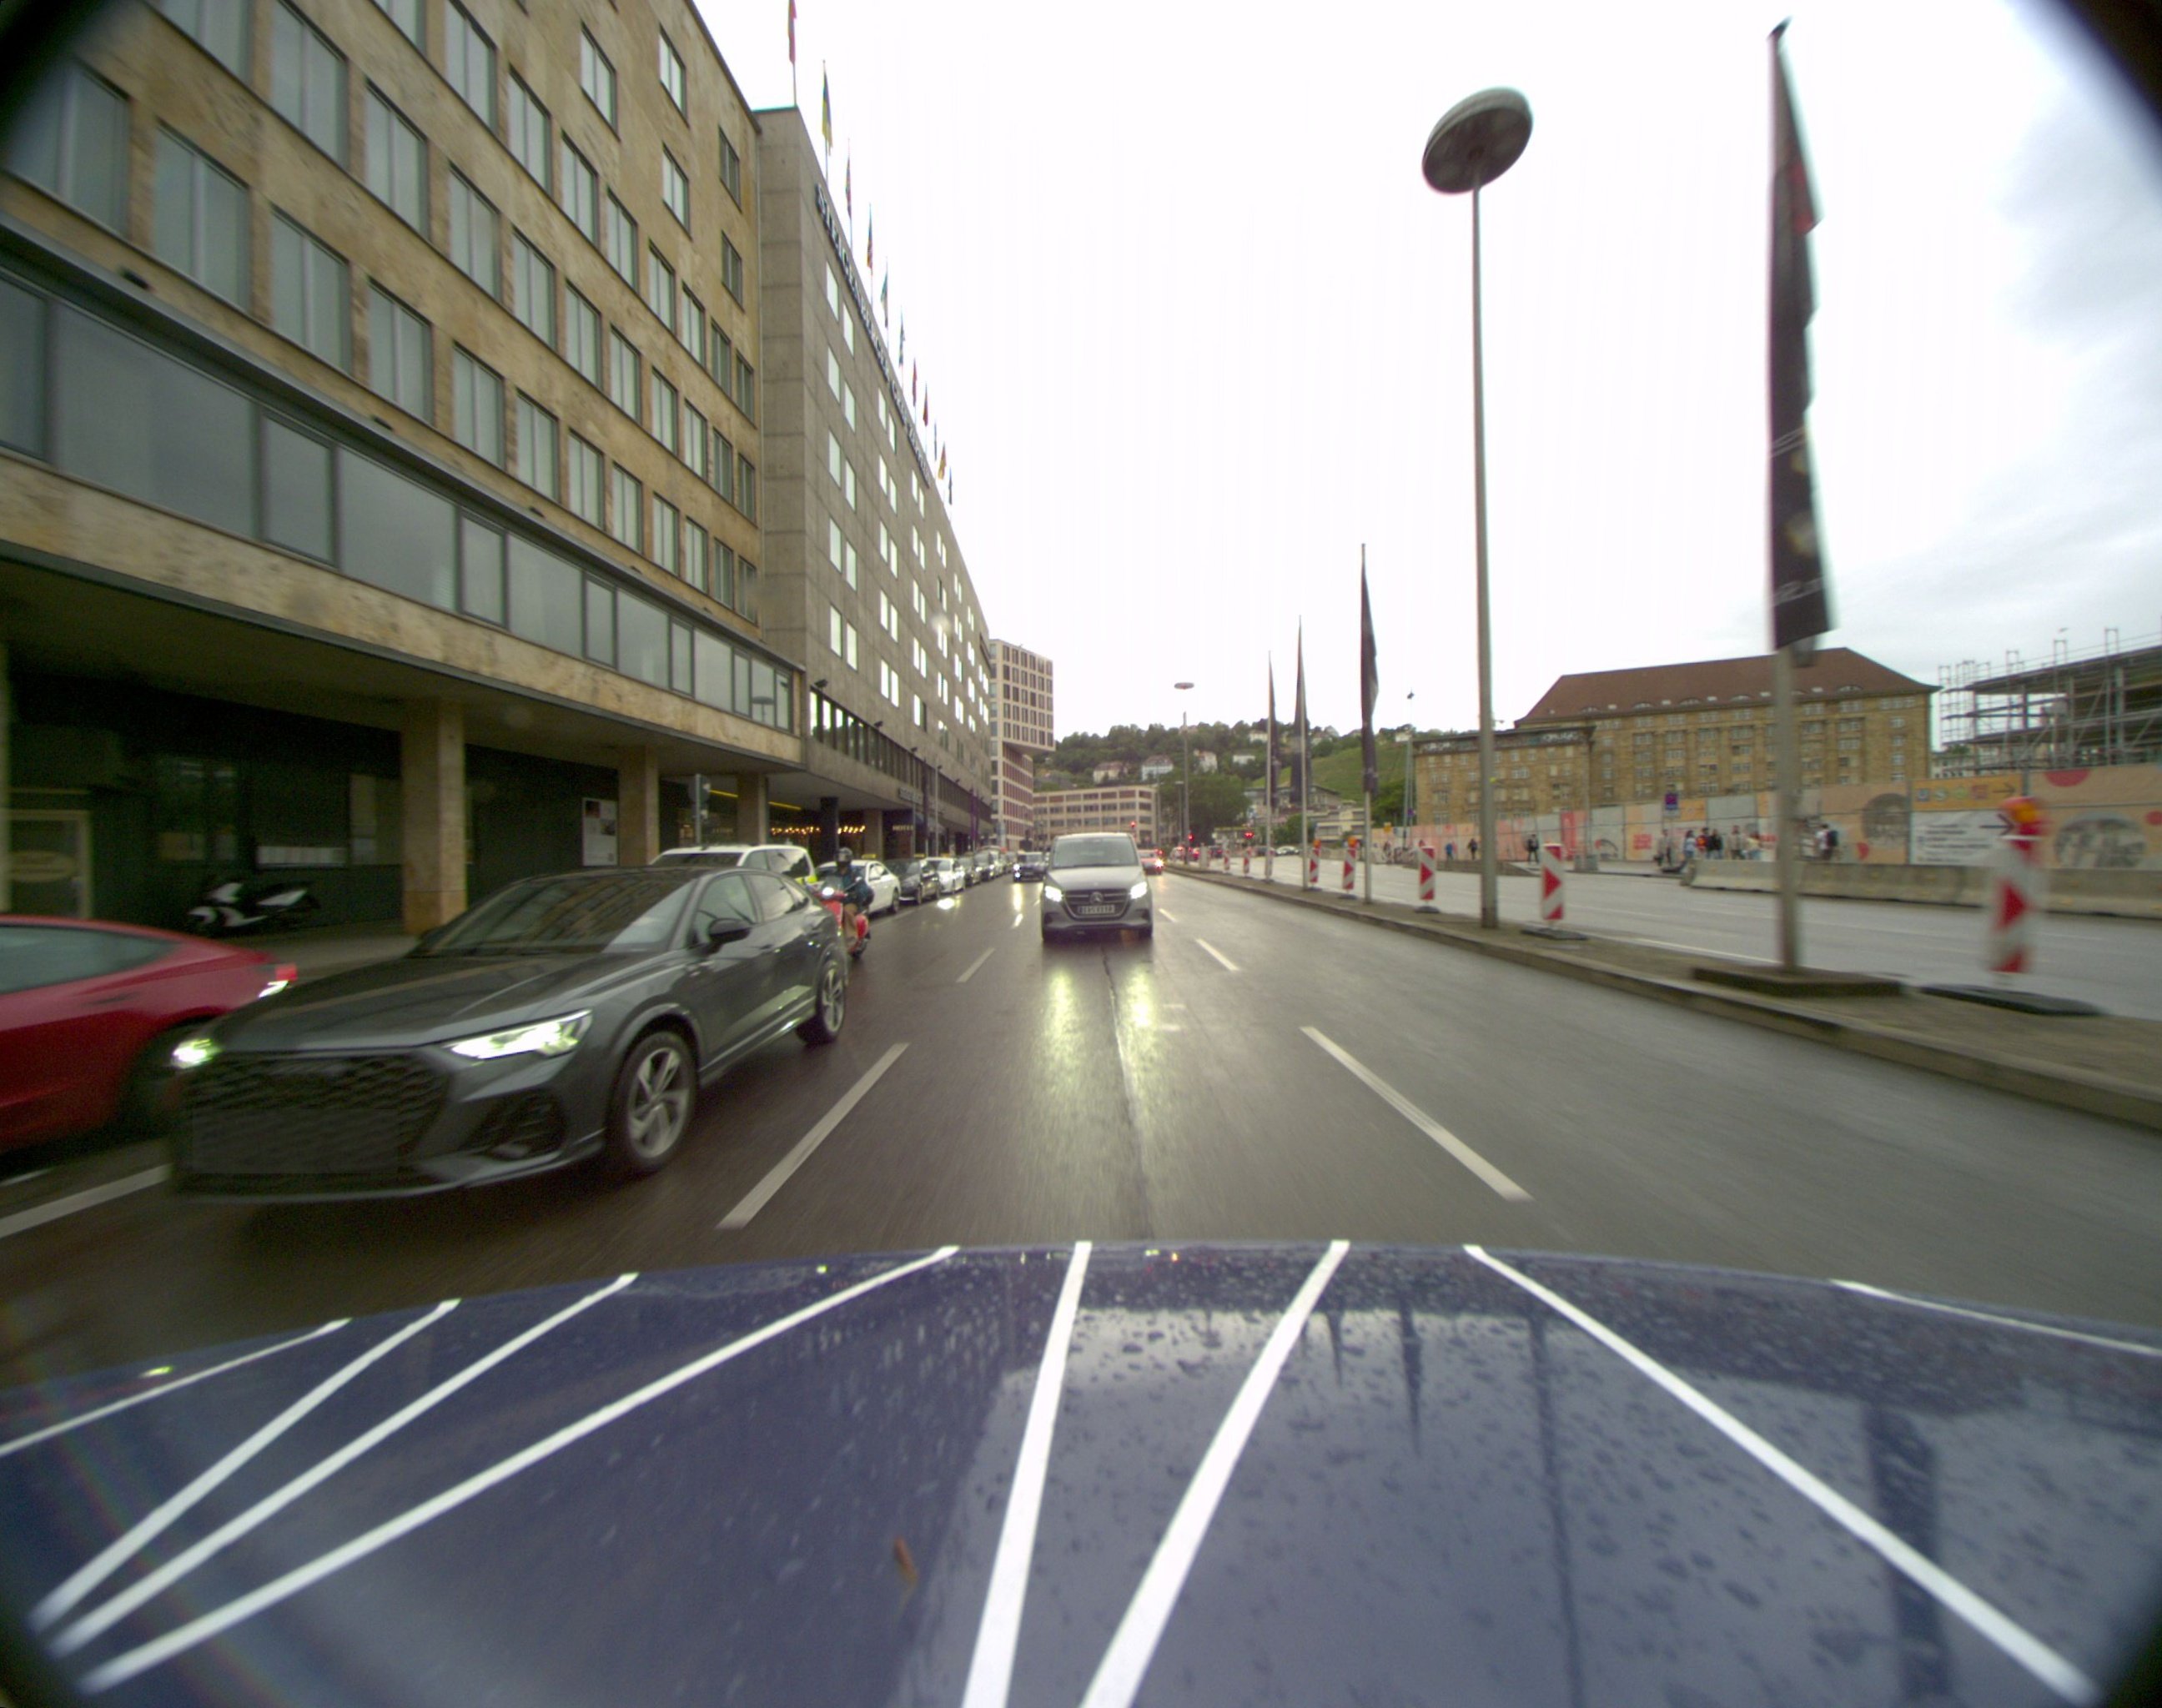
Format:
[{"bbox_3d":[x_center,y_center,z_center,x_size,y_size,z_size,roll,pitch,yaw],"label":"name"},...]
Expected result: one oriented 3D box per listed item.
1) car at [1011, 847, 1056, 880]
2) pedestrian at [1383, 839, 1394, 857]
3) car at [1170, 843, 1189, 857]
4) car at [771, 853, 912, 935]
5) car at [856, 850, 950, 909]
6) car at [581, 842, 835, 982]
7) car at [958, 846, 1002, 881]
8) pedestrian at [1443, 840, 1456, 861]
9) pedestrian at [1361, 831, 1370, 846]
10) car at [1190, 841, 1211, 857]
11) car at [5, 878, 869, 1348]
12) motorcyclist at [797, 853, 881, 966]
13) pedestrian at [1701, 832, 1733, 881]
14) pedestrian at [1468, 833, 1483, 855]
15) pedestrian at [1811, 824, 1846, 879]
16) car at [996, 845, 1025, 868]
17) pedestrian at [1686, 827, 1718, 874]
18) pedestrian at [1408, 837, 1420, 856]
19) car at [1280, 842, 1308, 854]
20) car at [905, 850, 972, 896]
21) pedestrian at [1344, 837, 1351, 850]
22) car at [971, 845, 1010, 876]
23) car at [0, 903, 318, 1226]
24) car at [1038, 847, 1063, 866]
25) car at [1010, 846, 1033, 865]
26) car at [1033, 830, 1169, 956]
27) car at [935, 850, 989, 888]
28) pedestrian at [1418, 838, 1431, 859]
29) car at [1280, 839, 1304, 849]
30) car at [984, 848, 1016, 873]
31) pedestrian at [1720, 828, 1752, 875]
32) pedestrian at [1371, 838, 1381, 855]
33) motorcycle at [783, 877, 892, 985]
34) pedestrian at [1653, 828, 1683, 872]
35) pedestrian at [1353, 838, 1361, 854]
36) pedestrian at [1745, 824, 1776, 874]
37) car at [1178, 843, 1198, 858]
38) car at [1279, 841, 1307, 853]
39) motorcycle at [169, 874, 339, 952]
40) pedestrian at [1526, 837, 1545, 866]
[{"bbox_3d":[-2.538,0.464,41.553,2.089,1.540,4.586,-3,1,1],"label":"car"},{"bbox_3d":[28.372,-0.580,70.156,0.715,1.607,0.544,-3,2,1],"label":"pedestrian"},{"bbox_3d":[12.499,-0.547,96.246,1.785,1.684,3.915,-3,1,-1],"label":"car"},{"bbox_3d":[-5.861,0.882,19.333,1.879,1.628,5.010,-3,1,1],"label":"car"},{"bbox_3d":[-5.809,0.755,25.415,1.879,1.628,4.813,-3,1,1],"label":"car"},{"bbox_3d":[-6.127,0.796,13.331,1.879,1.909,4.934,-3,1,1],"label":"car"},{"bbox_3d":[-5.686,0.474,43.124,1.731,1.733,4.813,-3,1,1],"label":"car"},{"bbox_3d":[27.954,-0.270,57.642,0.715,1.607,0.544,-3,2,1],"label":"pedestrian"},{"bbox_3d":[30.292,-1.650,80.828,0.715,1.607,0.544,-2,2,6],"label":"pedestrian"},{"bbox_3d":[12.962,-0.528,82.604,1.785,1.684,3.916,-1,1,1],"label":"car"},{"bbox_3d":[-3.039,1.064,5.043,1.883,1.493,4.342,-2,1,1],"label":"car"},{"bbox_3d":[-3.489,0.777,11.034,0.861,1.519,0.844,-3,2,1],"label":"motorcyclist"},{"bbox_3d":[24.590,0.089,29.394,0.714,1.825,0.718,-2,2,20],"label":"pedestrian"},{"bbox_3d":[28.617,-0.716,55.133,0.715,1.607,0.544,-3,2,1],"label":"pedestrian"},{"bbox_3d":[25.570,-0.097,26.003,0.482,1.825,0.717,-2,2,1],"label":"pedestrian"},{"bbox_3d":[-5.416,0.186,59.002,1.731,1.604,4.000,-3,1,1],"label":"car"},{"bbox_3d":[23.610,-0.143,28.885,0.714,1.723,0.718,-2,2,20],"label":"pedestrian"},{"bbox_3d":[27.793,-0.630,63.342,0.715,1.607,0.544,-3,2,1],"label":"pedestrian"},{"bbox_3d":[36.040,-1.012,128.664,4.194,1.847,1.832,-2,1,6],"label":"car"},{"bbox_3d":[-5.743,0.721,31.142,1.731,1.583,4.813,-3,1,1],"label":"car"},{"bbox_3d":[32.382,-1.292,92.378,0.715,1.607,0.544,-2,2,16],"label":"pedestrian"},{"bbox_3d":[-5.694,0.367,48.319,1.731,1.733,4.813,-3,1,1],"label":"car"},{"bbox_3d":[-6.353,1.167,3.054,1.879,1.477,4.525,-3,1,1],"label":"car"},{"bbox_3d":[-2.839,0.189,71.552,2.089,1.540,4.586,-3,1,1],"label":"car"},{"bbox_3d":[-5.388,0.104,69.321,1.731,1.604,4.000,-3,1,1],"label":"car"},{"bbox_3d":[0.364,0.547,14.202,1.998,1.849,5.159,-3,1,1],"label":"car"},{"bbox_3d":[-5.713,0.677,36.956,1.731,1.583,4.813,-3,1,1],"label":"car"},{"bbox_3d":[26.659,-0.451,58.955,0.715,1.607,0.544,-3,2,1],"label":"pedestrian"},{"bbox_3d":[36.632,-1.693,132.118,3.993,1.622,2.002,-1,1,14],"label":"car"},{"bbox_3d":[-5.698,0.405,53.828,1.731,1.604,4.000,-3,1,1],"label":"car"},{"bbox_3d":[24.490,-0.100,28.415,0.714,1.734,0.564,-2,2,21],"label":"pedestrian"},{"bbox_3d":[28.837,-0.762,74.287,0.715,1.607,0.544,-3,2,1],"label":"pedestrian"},{"bbox_3d":[-3.475,1.052,11.070,0.848,1.300,1.965,-3,1,1],"label":"motorcycle"},{"bbox_3d":[25.003,-0.161,32.372,0.664,1.825,0.720,-3,2,1],"label":"pedestrian"},{"bbox_3d":[29.426,-0.848,81.005,0.715,1.607,0.544,-2,2,6],"label":"pedestrian"},{"bbox_3d":[25.177,-0.198,28.157,0.661,1.825,0.556,-2,2,21],"label":"pedestrian"},{"bbox_3d":[12.620,-0.421,89.921,1.785,1.684,3.915,-3,1,-1],"label":"car"},{"bbox_3d":[31.566,-1.057,113.341,3.993,1.622,2.002,-1,1,14],"label":"car"},{"bbox_3d":[-15.243,1.046,14.103,0.568,1.211,2.105,-2,1,9],"label":"motorcycle"},{"bbox_3d":[25.614,-0.124,42.793,0.715,1.607,0.544,-3,2,1],"label":"pedestrian"}]
